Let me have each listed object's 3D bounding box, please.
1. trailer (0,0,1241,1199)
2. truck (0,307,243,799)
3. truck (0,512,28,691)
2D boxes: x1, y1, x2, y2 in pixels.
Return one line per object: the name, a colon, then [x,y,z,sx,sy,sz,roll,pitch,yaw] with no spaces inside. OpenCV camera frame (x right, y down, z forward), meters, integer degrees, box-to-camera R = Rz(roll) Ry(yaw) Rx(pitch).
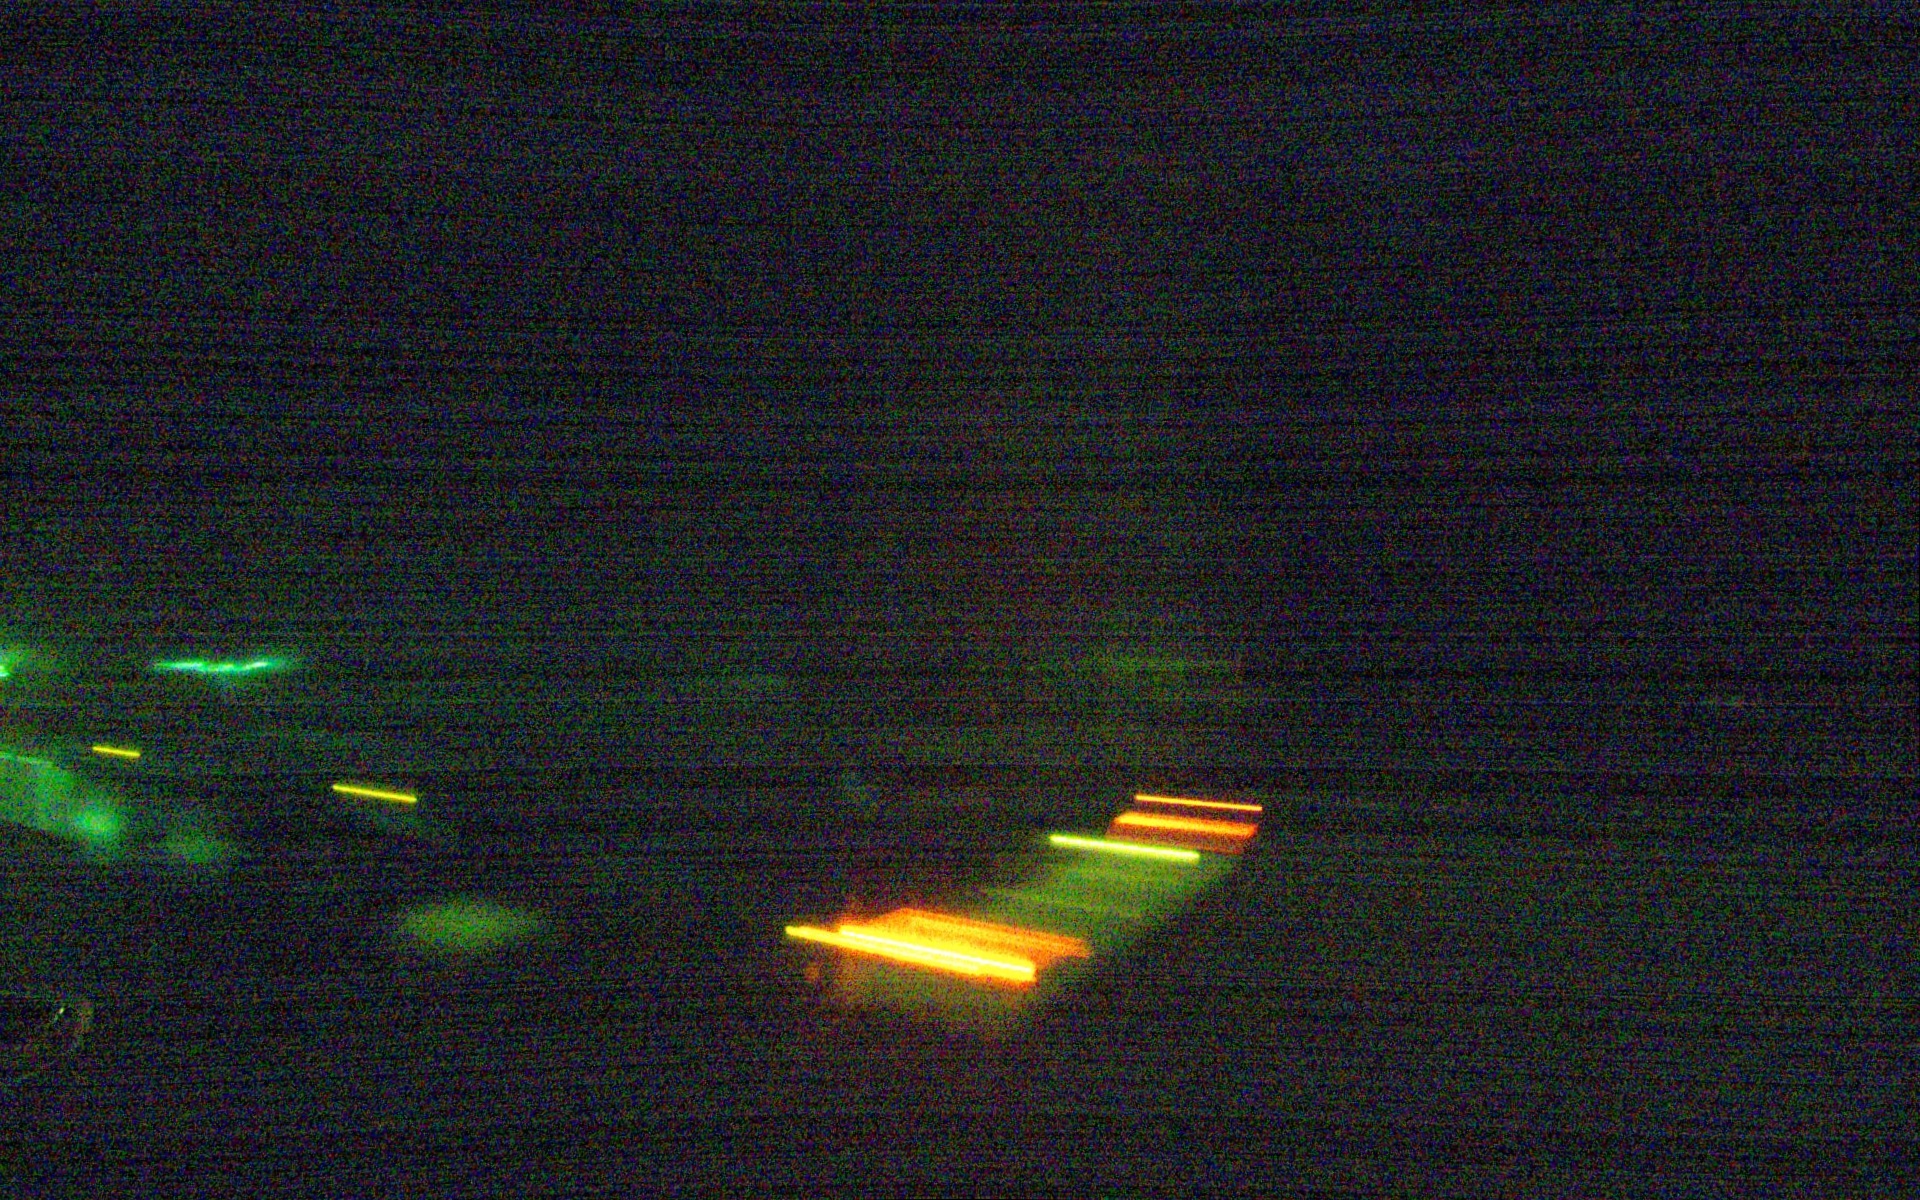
trailer: [-5.006,-0.470,7.153,13.317,4.259,2.738,-1,-3,32]
truck: [-10.872,-0.325,10.856,6.626,4.259,2.658,-1,-2,32]
truck: [-25.806,0.077,24.417,7.564,4.123,2.587,-1,-3,32]
